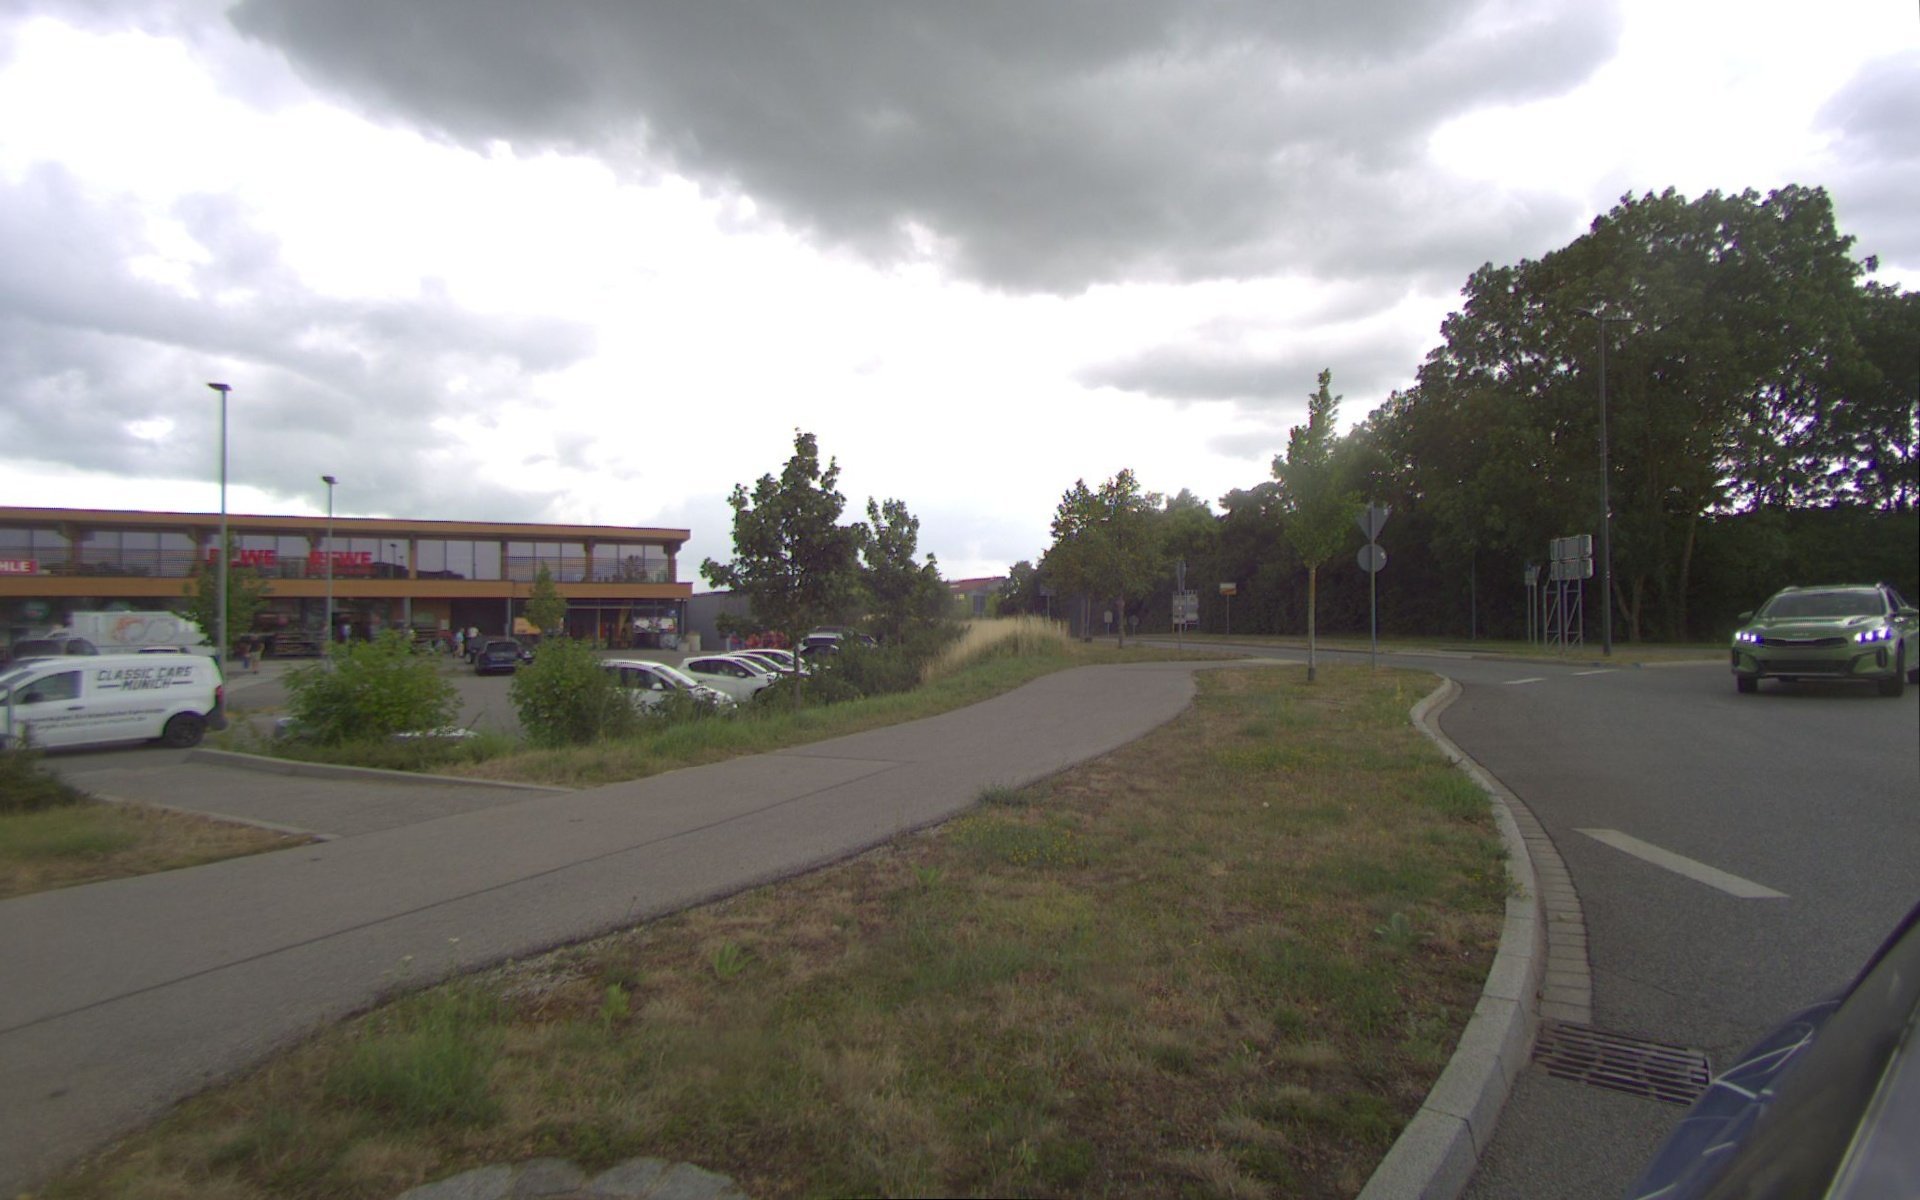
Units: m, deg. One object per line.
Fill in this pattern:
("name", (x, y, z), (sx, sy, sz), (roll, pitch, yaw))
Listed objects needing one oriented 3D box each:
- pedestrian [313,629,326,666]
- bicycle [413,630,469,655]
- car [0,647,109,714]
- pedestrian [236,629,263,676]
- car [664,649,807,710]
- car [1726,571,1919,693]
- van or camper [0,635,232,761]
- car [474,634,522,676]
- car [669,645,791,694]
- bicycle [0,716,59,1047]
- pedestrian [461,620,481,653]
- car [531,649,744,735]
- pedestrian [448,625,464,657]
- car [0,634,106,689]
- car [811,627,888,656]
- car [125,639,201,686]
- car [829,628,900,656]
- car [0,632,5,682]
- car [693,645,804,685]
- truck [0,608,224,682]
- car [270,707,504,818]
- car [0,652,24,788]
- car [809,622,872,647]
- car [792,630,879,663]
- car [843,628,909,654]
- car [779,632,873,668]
("pedestrian", (-34.623, 2.557, 54.724), (0.514, 1.974, 0.579), (0, -1, -26))
("bicycle", (-29.617, 2.387, 57.761), (2.811, 1.326, 0.981), (-1, -1, -27))
("car", (-25.089, 2.174, 28.017), (1.697, 1.573, 4.003), (0, -1, -30))
("pedestrian", (-31.369, 2.309, 44.667), (0.913, 2.039, 0.806), (0, -1, -31))
("car", (-6.568, 2.309, 29.968), (3.919, 1.527, 2.002), (-2, 0, -6))
("car", (13.102, 0.417, 14.877), (4.795, 1.522, 1.923), (0, -2, -41))
("van or camper", (-17.066, 1.837, 19.408), (1.752, 2.125, 4.748), (-4, -2, 33))
("car", (-19.665, 2.304, 43.039), (1.681, 1.588, 3.674), (0, -1, -27))
("car", (-7.228, 2.187, 32.084), (3.601, 1.311, 1.719), (-2, 0, -8))
("bicycle", (-3.065, 0.864, 2.356), (0.487, 0.958, 1.715), (0, 1, -3))
("pedestrian", (-29.048, 2.185, 60.124), (0.911, 1.923, 0.793), (0, -4, -35))
("car", (-7.414, 2.093, 23.544), (4.361, 1.694, 1.800), (2, 0, 1))
("pedestrian", (-27.841, 2.256, 55.881), (0.789, 1.678, 0.751), (0, -1, -28))
("car", (-32.633, 2.154, 36.495), (1.814, 1.747, 4.125), (-2, 0, -26))
("car", (-5.846, 2.207, 53.834), (3.821, 1.483, 1.694), (-1, -1, 6))
("car", (-29.979, 2.295, 38.167), (1.697, 1.549, 4.003), (0, -1, -31))
("car", (-5.444, 2.412, 58.082), (3.821, 1.483, 1.694), (-1, -1, 6))
("car", (-35.630, 2.094, 35.637), (1.736, 1.878, 4.005), (-1, -1, -25))
("car", (-7.456, 2.283, 35.813), (3.612, 1.311, 1.413), (-1, 0, 6))
("truck", (-35.807, 1.811, 42.969), (7.113, 2.843, 2.979), (0, -1, -30))
("car", (-9.283, 2.537, 16.363), (3.696, 1.390, 1.565), (-2, -1, 28))
("car", (-10.604, 1.174, 9.639), (3.725, 1.223, 1.561), (-4, -3, 32))
("car", (-7.665, 2.198, 64.966), (3.918, 1.462, 1.887), (-1, -1, -9))
("car", (-5.872, 2.179, 47.960), (3.821, 1.483, 1.694), (-1, -1, 6))
("car", (-5.137, 2.523, 62.020), (3.821, 1.483, 1.694), (-1, -1, 6))
("car", (-5.825, 2.161, 44.250), (3.821, 1.483, 1.694), (-1, -1, 6))
